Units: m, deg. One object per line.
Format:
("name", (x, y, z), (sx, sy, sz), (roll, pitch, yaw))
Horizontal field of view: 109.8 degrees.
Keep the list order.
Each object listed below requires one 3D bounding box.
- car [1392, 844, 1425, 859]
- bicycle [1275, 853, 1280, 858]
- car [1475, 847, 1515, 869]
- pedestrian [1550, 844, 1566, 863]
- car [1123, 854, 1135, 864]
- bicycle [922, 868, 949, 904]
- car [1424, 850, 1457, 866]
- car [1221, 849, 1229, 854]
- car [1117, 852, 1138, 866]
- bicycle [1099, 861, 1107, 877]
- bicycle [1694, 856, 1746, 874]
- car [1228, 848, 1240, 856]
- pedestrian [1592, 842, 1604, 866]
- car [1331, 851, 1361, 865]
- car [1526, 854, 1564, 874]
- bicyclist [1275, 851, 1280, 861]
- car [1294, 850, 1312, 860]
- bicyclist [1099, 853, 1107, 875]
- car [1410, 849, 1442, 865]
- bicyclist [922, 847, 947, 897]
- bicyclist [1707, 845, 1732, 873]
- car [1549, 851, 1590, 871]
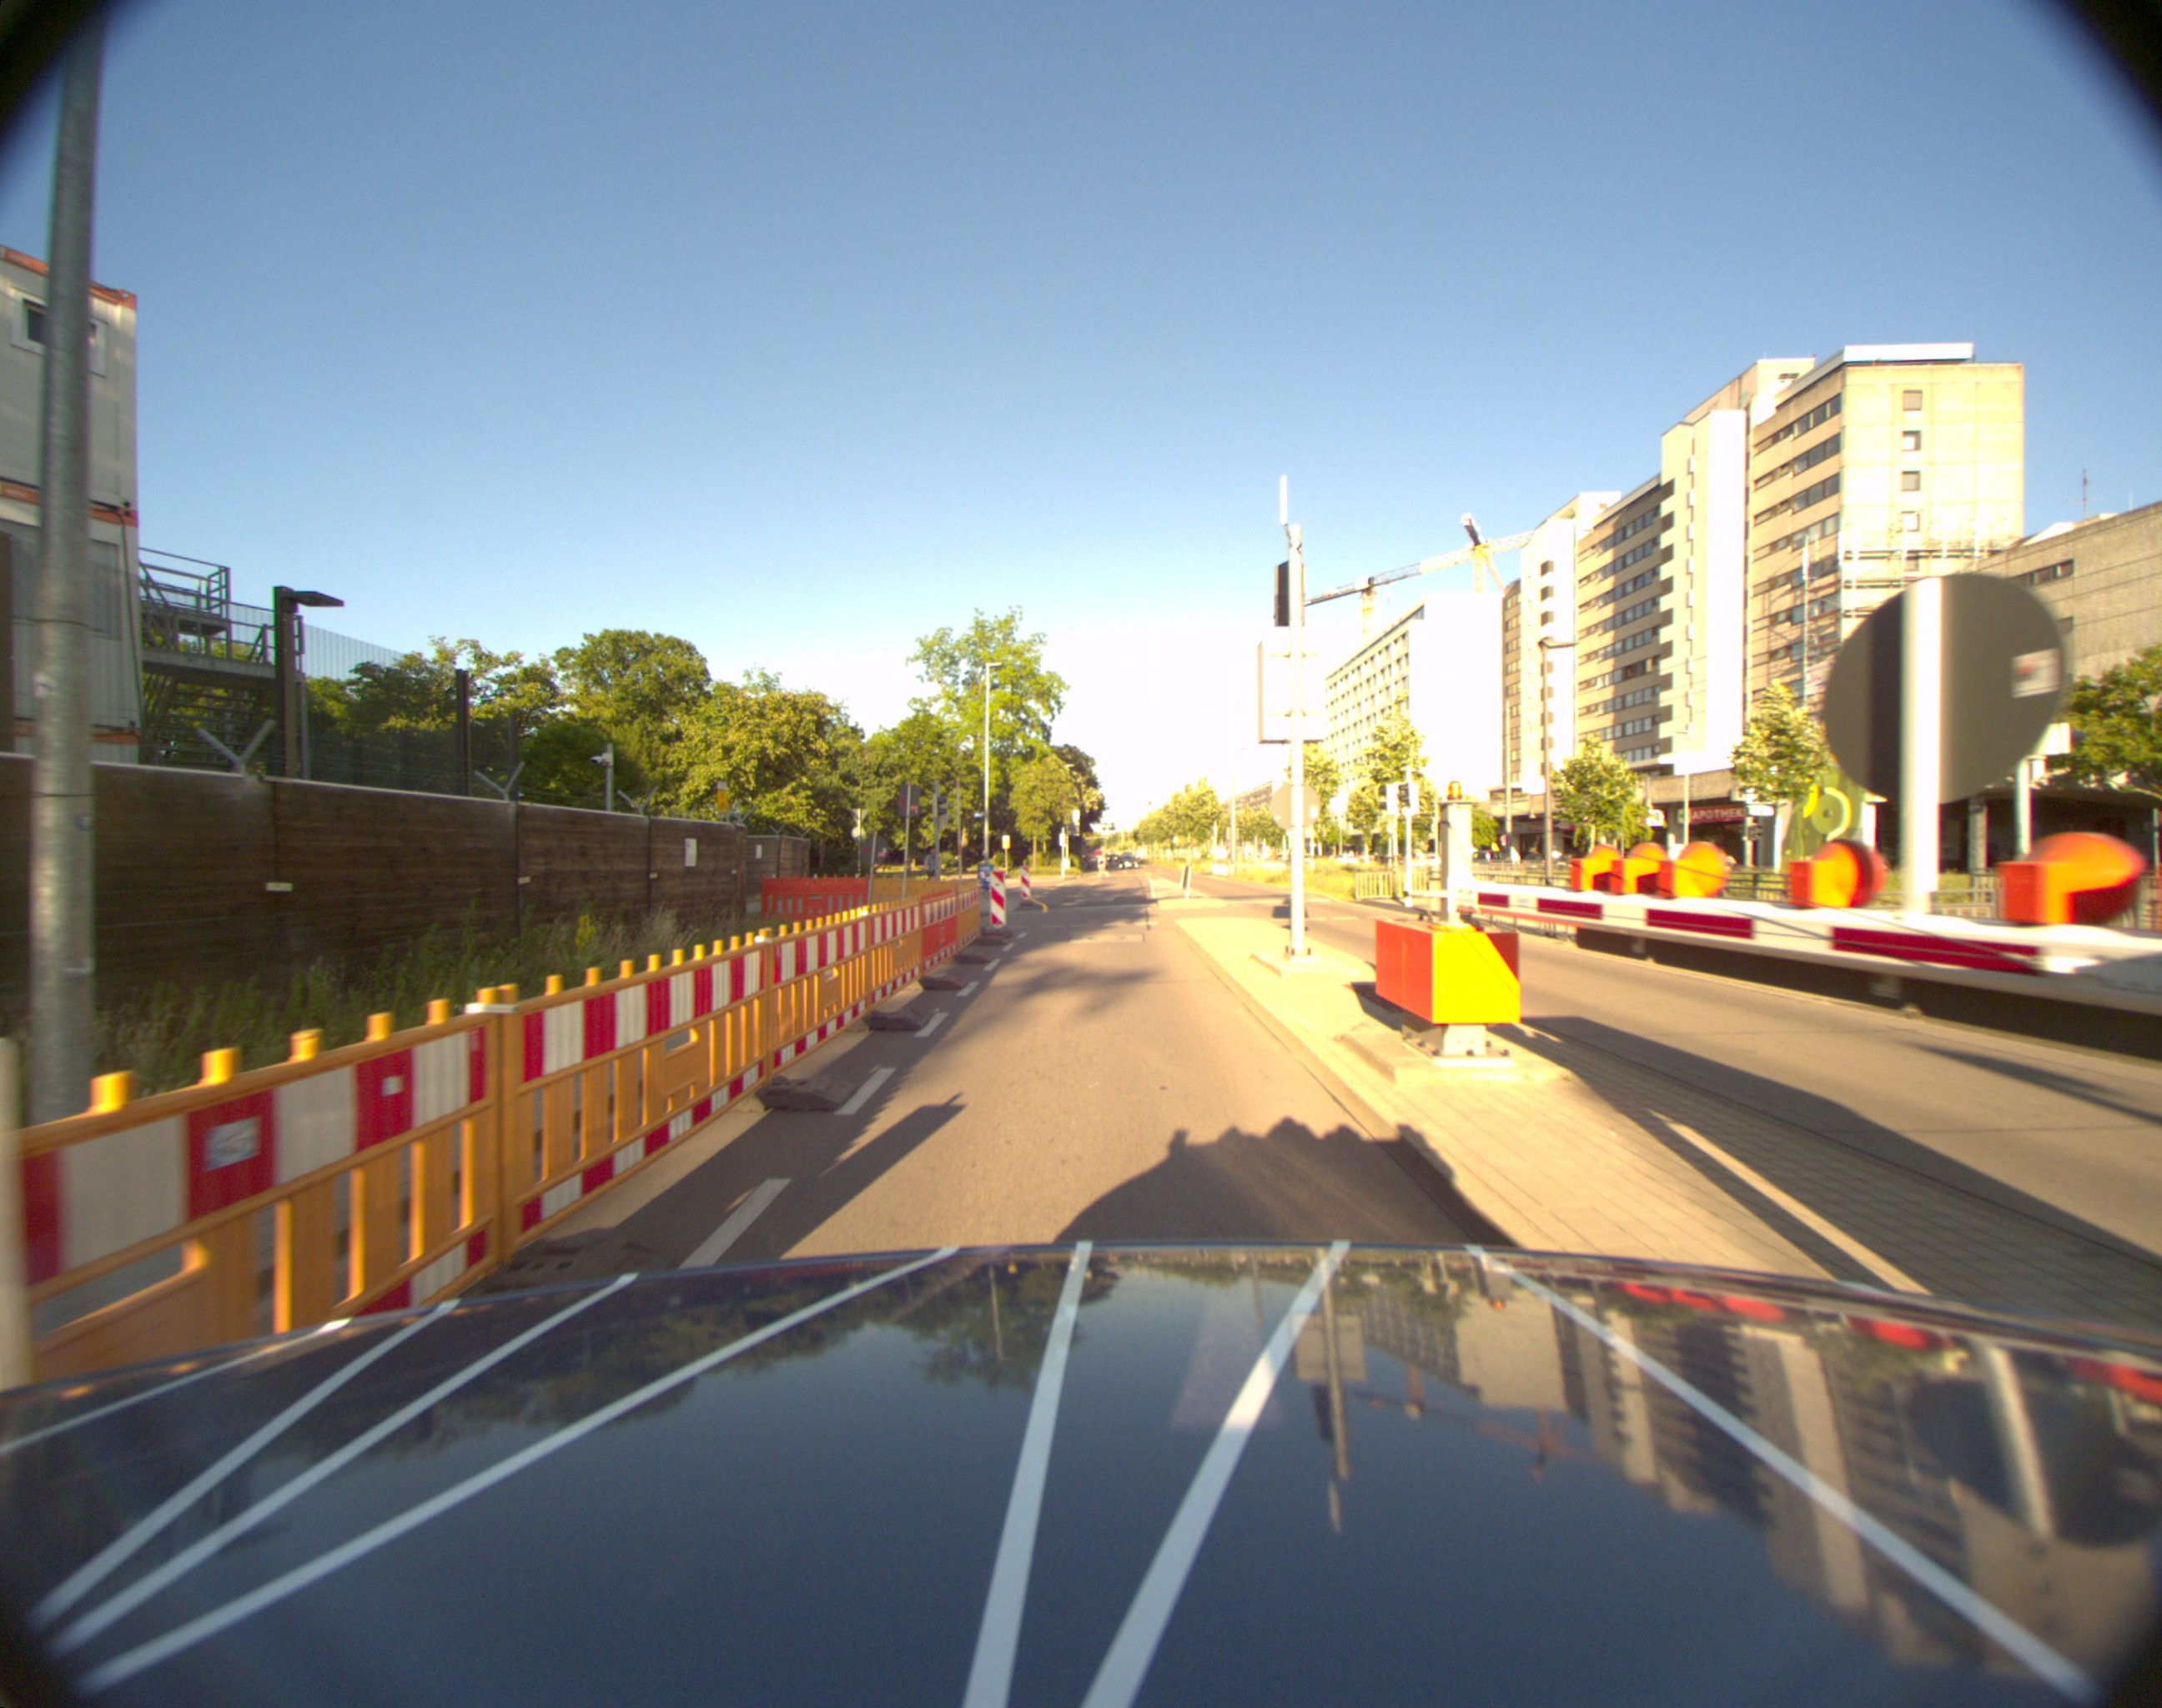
("car", (35.868, -0.234, 83.251), (4.555, 1.436, 1.617), (-3, 1, -44))
("bicycle", (34.071, 0.244, 131.762), (0.437, 0.858, 2.102), (0, 1, 0))
("car", (36.291, 0.363, 66.585), (4.204, 1.681, 1.617), (-3, 1, -39))
("pedestrian", (41.243, -0.069, 65.693), (0.776, 1.630, 0.882), (-1, 1, 0))
("car", (7.213, 0.783, 114.308), (1.591, 1.449, 4.000), (0, 0, 2))
("bicycle", (-4.756, 1.029, 24.893), (0.429, 1.055, 1.911), (-1, 1, 2))
("car", (36.269, 0.363, 76.631), (3.800, 1.436, 1.617), (-3, 1, -42))
("car", (41.492, -0.717, 219.127), (1.613, 1.370, 3.879), (-2, 1, 1))
("car", (4.629, 0.470, 76.382), (1.998, 1.346, 4.000), (-1, 1, 2))
("bicycle", (1.466, 0.974, 49.988), (0.506, 1.018, 1.505), (-1, 1, 1))
("bicycle", (32.160, 0.545, 38.275), (0.507, 0.886, 2.027), (-1, 1, -22))
("car", (35.648, -0.496, 176.847), (1.874, 1.579, 4.638), (-2, 1, 1))
("pedestrian", (43.204, 0.030, 63.480), (0.549, 2.002, 0.654), (-1, 1, 1))
("car", (29.858, 0.391, 85.603), (1.780, 1.455, 4.662), (-1, 1, 0))
("car", (36.660, 0.763, 60.049), (3.472, 1.394, 1.617), (-3, 1, -42))
("bicyclist", (34.050, 0.359, 131.652), (0.558, 1.735, 0.919), (0, 1, -1))
("car", (35.763, 0.141, 122.302), (1.874, 1.458, 3.389), (-2, 1, 1))
("bicyclist", (1.469, 0.650, 50.061), (0.516, 1.399, 0.805), (0, 1, 1))
("car", (36.161, 0.324, 79.599), (3.808, 1.436, 1.785), (-3, 1, -44))
("bicyclist", (-4.754, 0.565, 24.674), (0.585, 1.605, 0.903), (-1, 1, 1))
("bicyclist", (32.088, 0.244, 38.186), (0.737, 1.386, 0.715), (-1, 1, -23))
("car", (35.071, 0.522, 54.552), (3.472, 1.266, 1.617), (-3, 1, -42))
